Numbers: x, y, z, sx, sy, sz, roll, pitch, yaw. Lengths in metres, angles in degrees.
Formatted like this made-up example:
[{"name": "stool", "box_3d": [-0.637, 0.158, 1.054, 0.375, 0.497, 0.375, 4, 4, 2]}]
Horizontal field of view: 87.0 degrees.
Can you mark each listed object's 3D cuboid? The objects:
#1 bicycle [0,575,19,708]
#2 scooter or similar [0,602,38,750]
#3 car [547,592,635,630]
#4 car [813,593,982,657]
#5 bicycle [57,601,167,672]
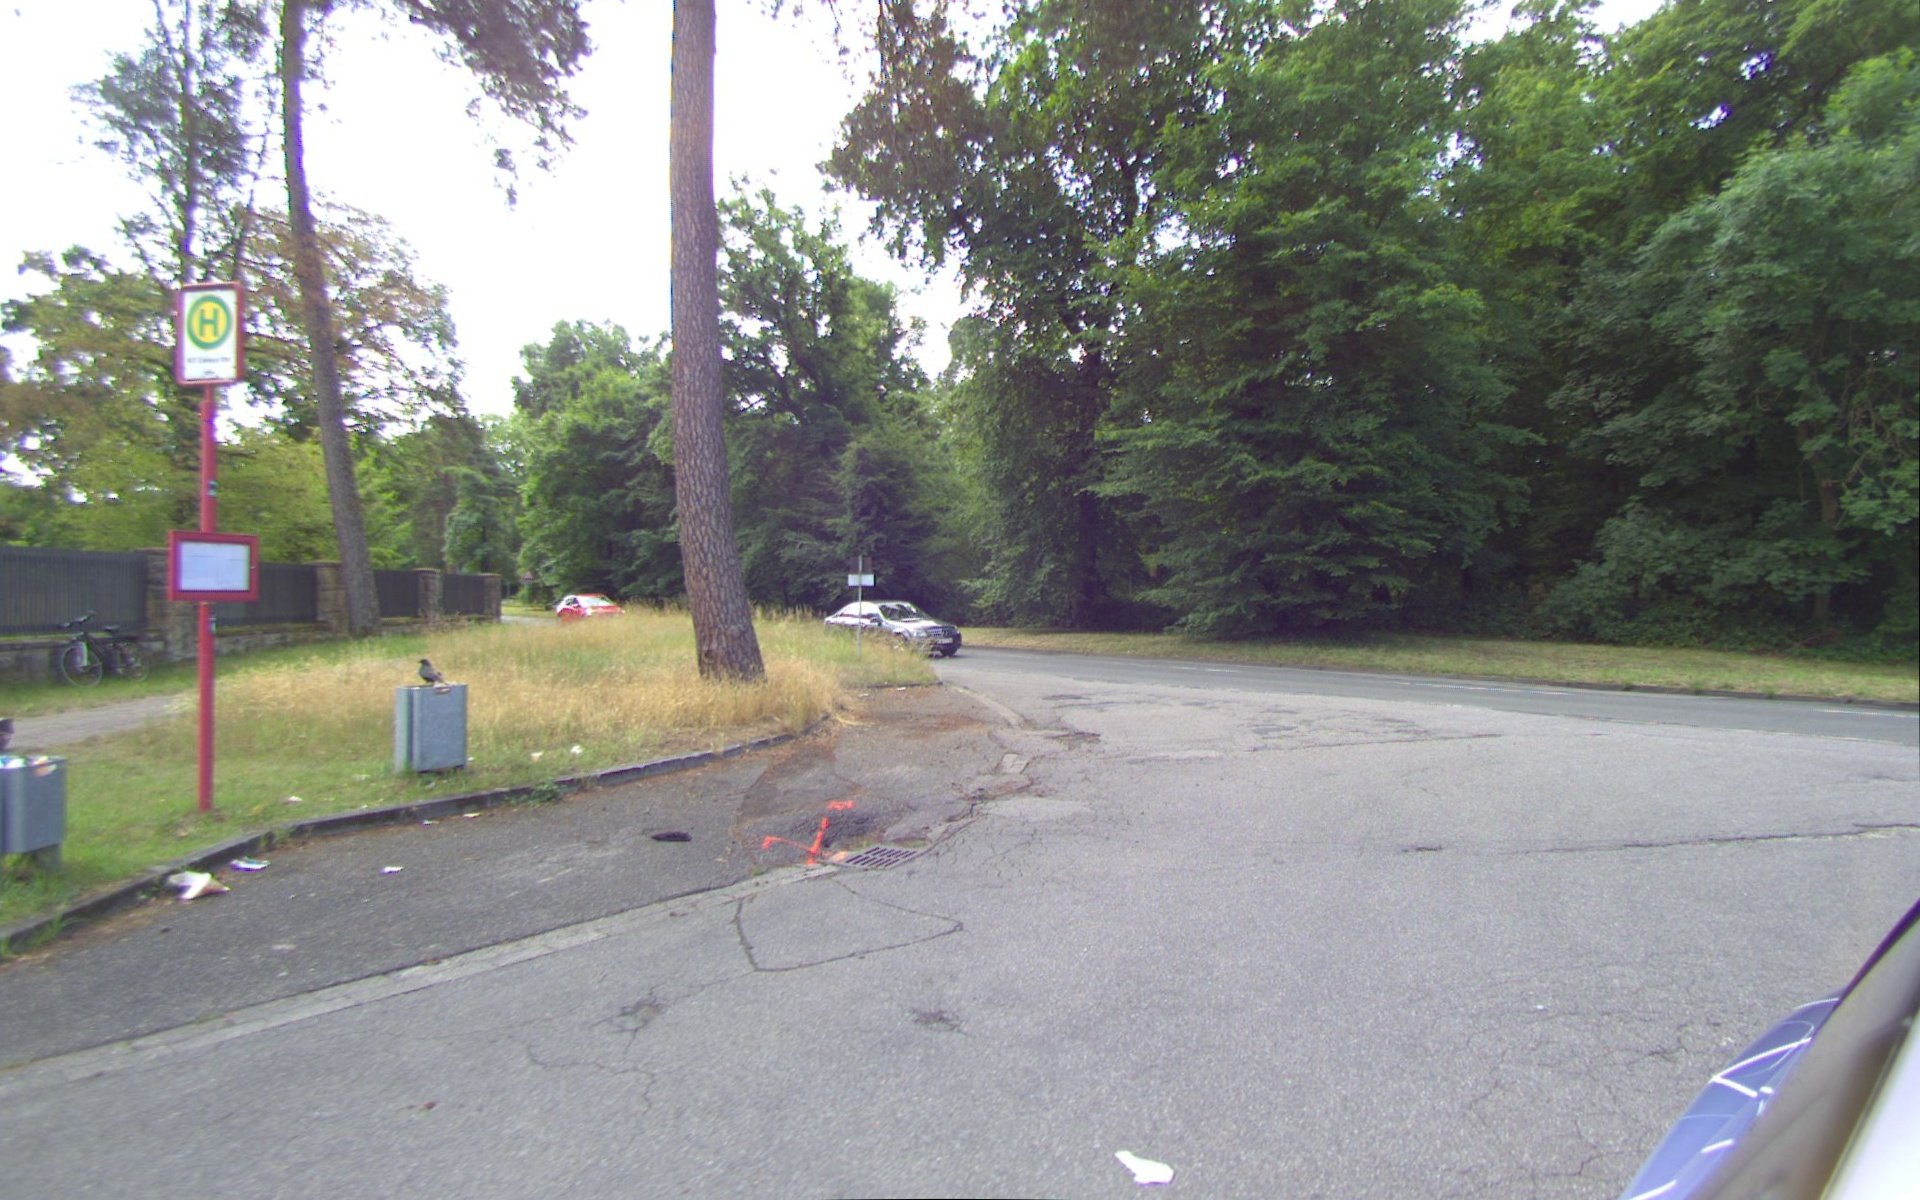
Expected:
[{"name": "bicycle", "box_3d": [-11.232, 0.430, 10.573, 1.941, 1.435, 0.579, 1, 0, -24]}, {"name": "scooter or similar", "box_3d": [-8.321, 0.657, 8.437, 0.429, 1.243, 1.093, -1, 2, -13]}, {"name": "car", "box_3d": [-15.415, 0.426, 42.189, 1.966, 1.482, 4.195, 0, 1, -43]}, {"name": "car", "box_3d": [-1.701, 0.644, 26.292, 1.934, 1.482, 4.517, -2, 0, -43]}, {"name": "bicycle", "box_3d": [-13.385, 0.541, 16.038, 0.366, 1.029, 1.956, 1, 0, -9]}]
